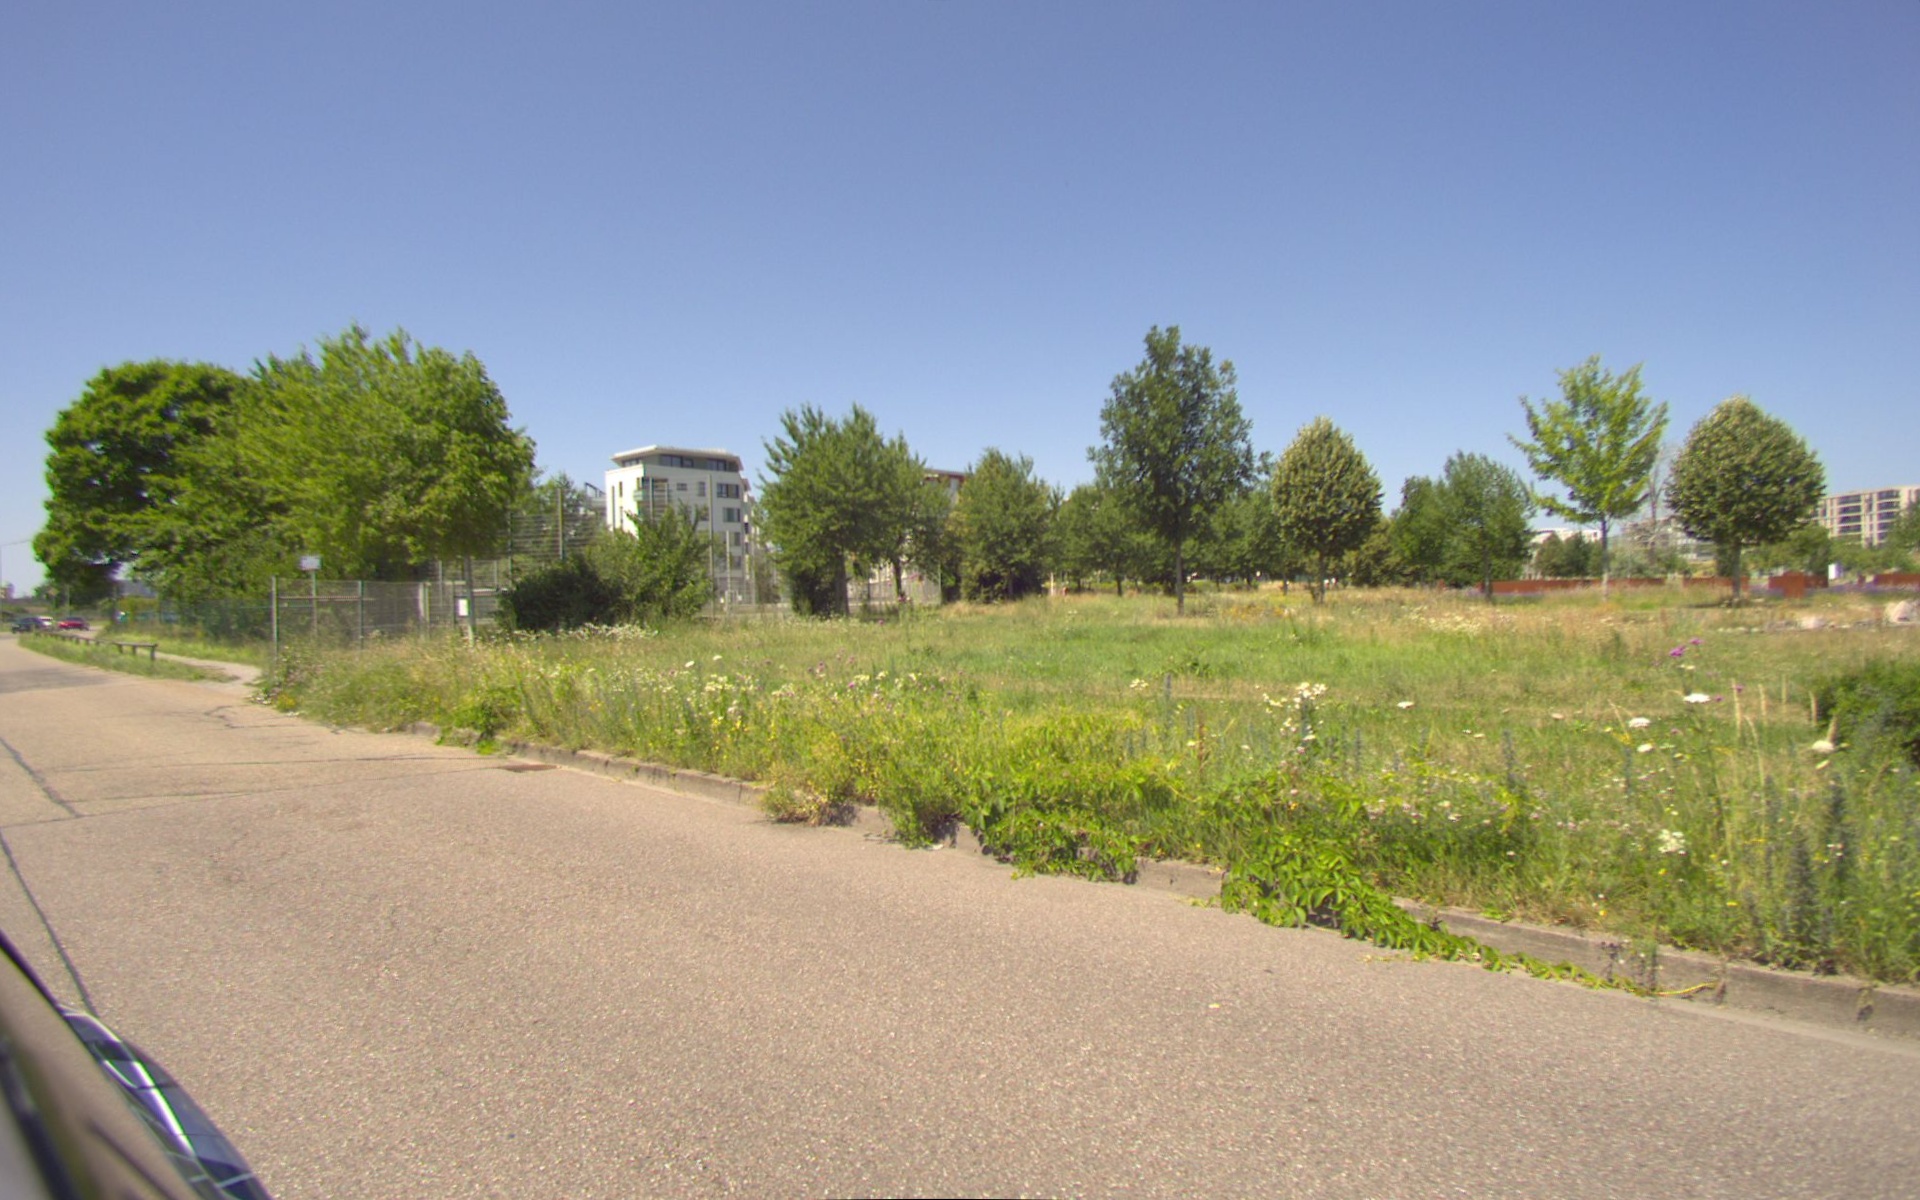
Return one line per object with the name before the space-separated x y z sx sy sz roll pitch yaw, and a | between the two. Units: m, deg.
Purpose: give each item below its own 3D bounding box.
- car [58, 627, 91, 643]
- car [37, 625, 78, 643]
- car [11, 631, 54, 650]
car | -90.170 3.560 103.095 1.626 1.477 3.878 -2 0 -27
car | -83.345 3.112 93.489 1.626 1.477 3.879 -2 0 -23
car | -80.845 3.528 88.251 1.626 1.477 3.879 -2 0 -25
